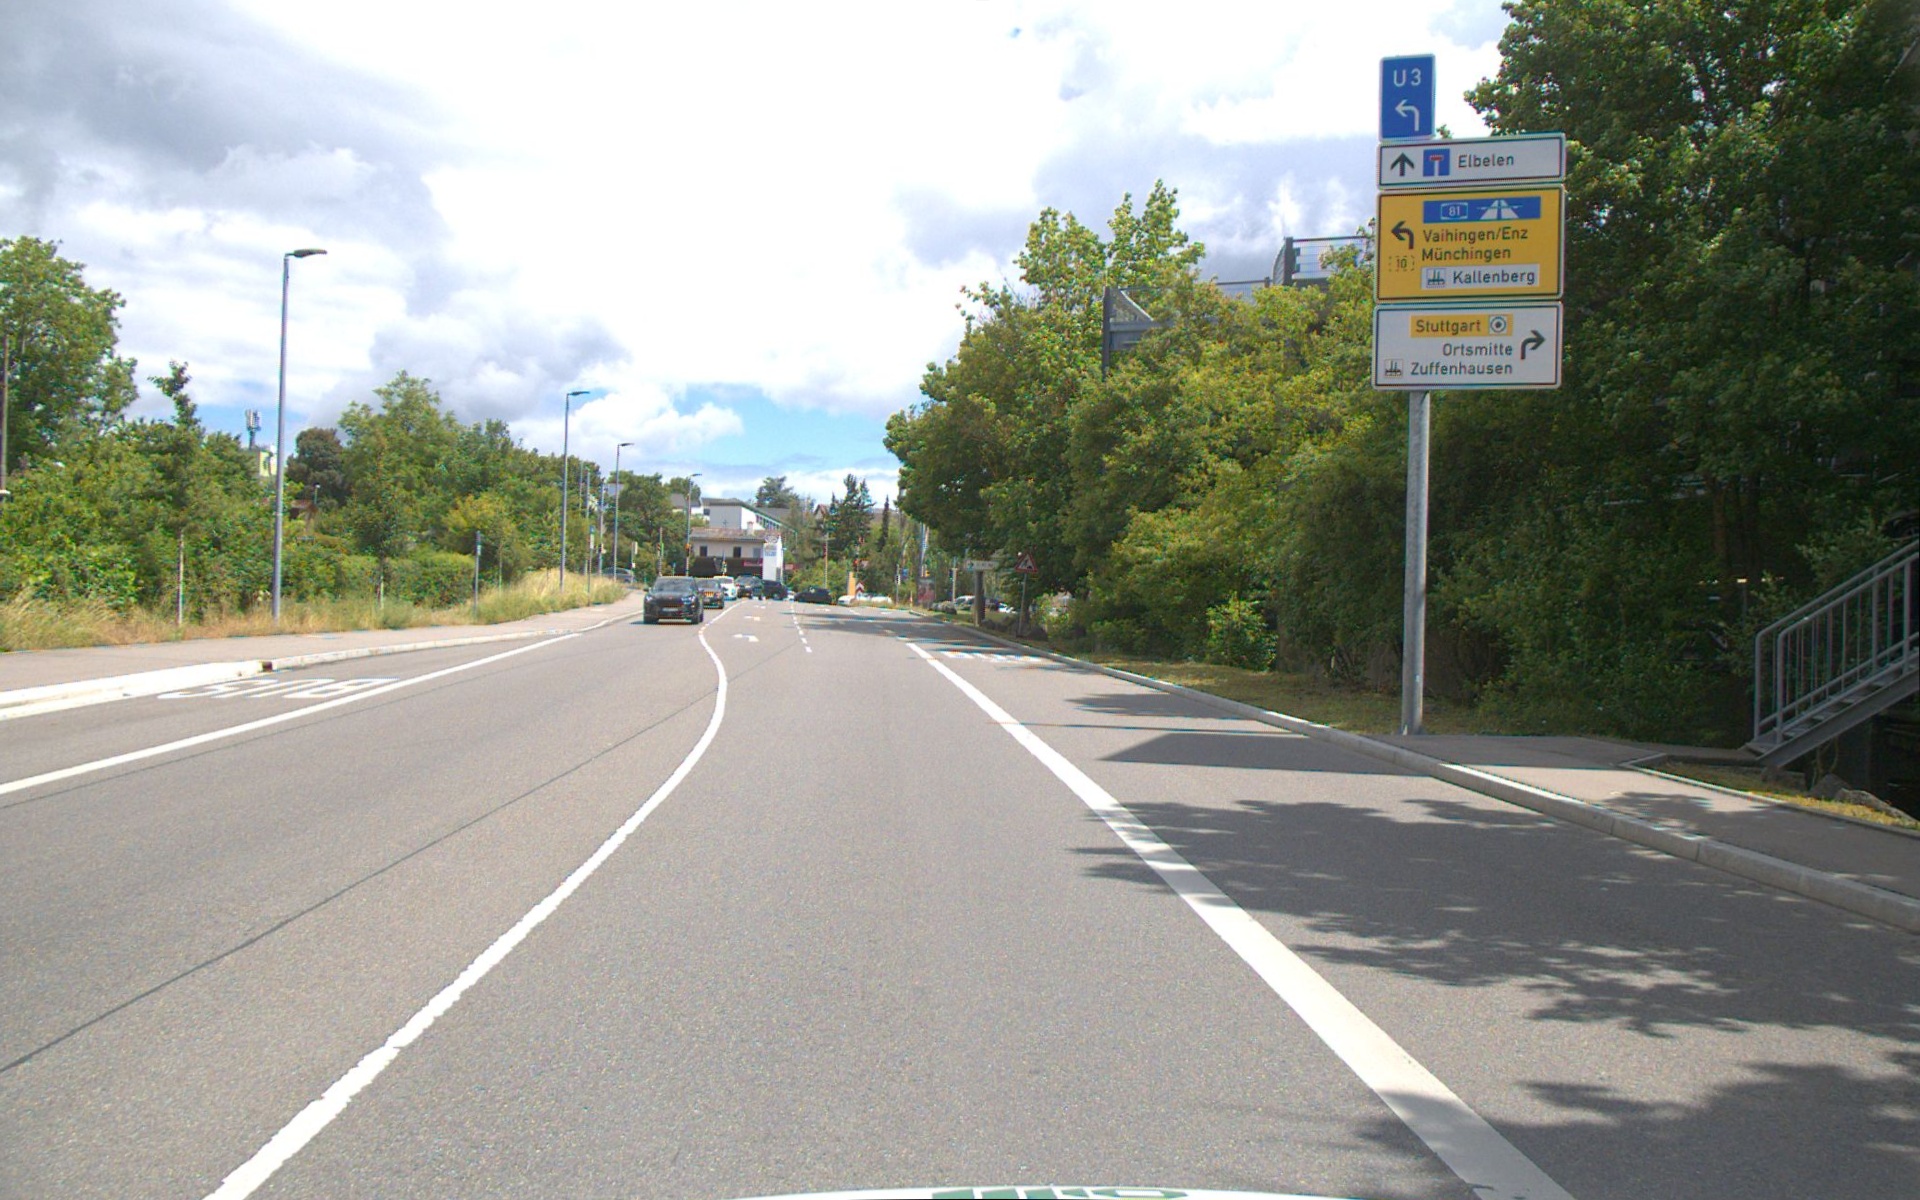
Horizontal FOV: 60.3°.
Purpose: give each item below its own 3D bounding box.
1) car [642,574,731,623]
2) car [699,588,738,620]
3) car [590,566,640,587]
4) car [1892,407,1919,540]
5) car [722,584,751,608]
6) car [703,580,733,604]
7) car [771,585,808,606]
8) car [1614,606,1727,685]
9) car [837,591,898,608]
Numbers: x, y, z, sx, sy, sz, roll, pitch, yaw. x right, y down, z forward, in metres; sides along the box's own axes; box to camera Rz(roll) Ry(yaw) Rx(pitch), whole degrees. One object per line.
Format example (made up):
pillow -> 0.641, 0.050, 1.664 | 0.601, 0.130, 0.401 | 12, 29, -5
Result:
car -> -9.276, -0.074, 56.486 | 1.784, 1.584, 4.633 | 0, 1, 6
car -> -11.545, 0.184, 79.296 | 1.732, 1.467, 4.370 | 1, 0, -7
car -> -29.704, -2.010, 142.341 | 3.905, 1.742, 1.895 | 1, 0, 0
car -> 14.259, -1.599, 21.254 | 3.684, 1.653, 1.666 | 2, 0, 18
car -> -16.203, -0.295, 120.167 | 1.785, 1.683, 4.529 | 1, 0, -4
car -> -15.189, -0.468, 104.023 | 1.732, 1.467, 3.894 | 1, 0, -7
car -> -16.461, -0.441, 159.319 | 1.885, 1.892, 3.760 | 1, -1, -37
car -> 17.254, 1.097, 40.350 | 1.837, 1.831, 3.708 | 0, -1, 12
car -> -7.457, -0.045, 133.762 | 4.541, 1.314, 1.893 | 1, 0, -28
